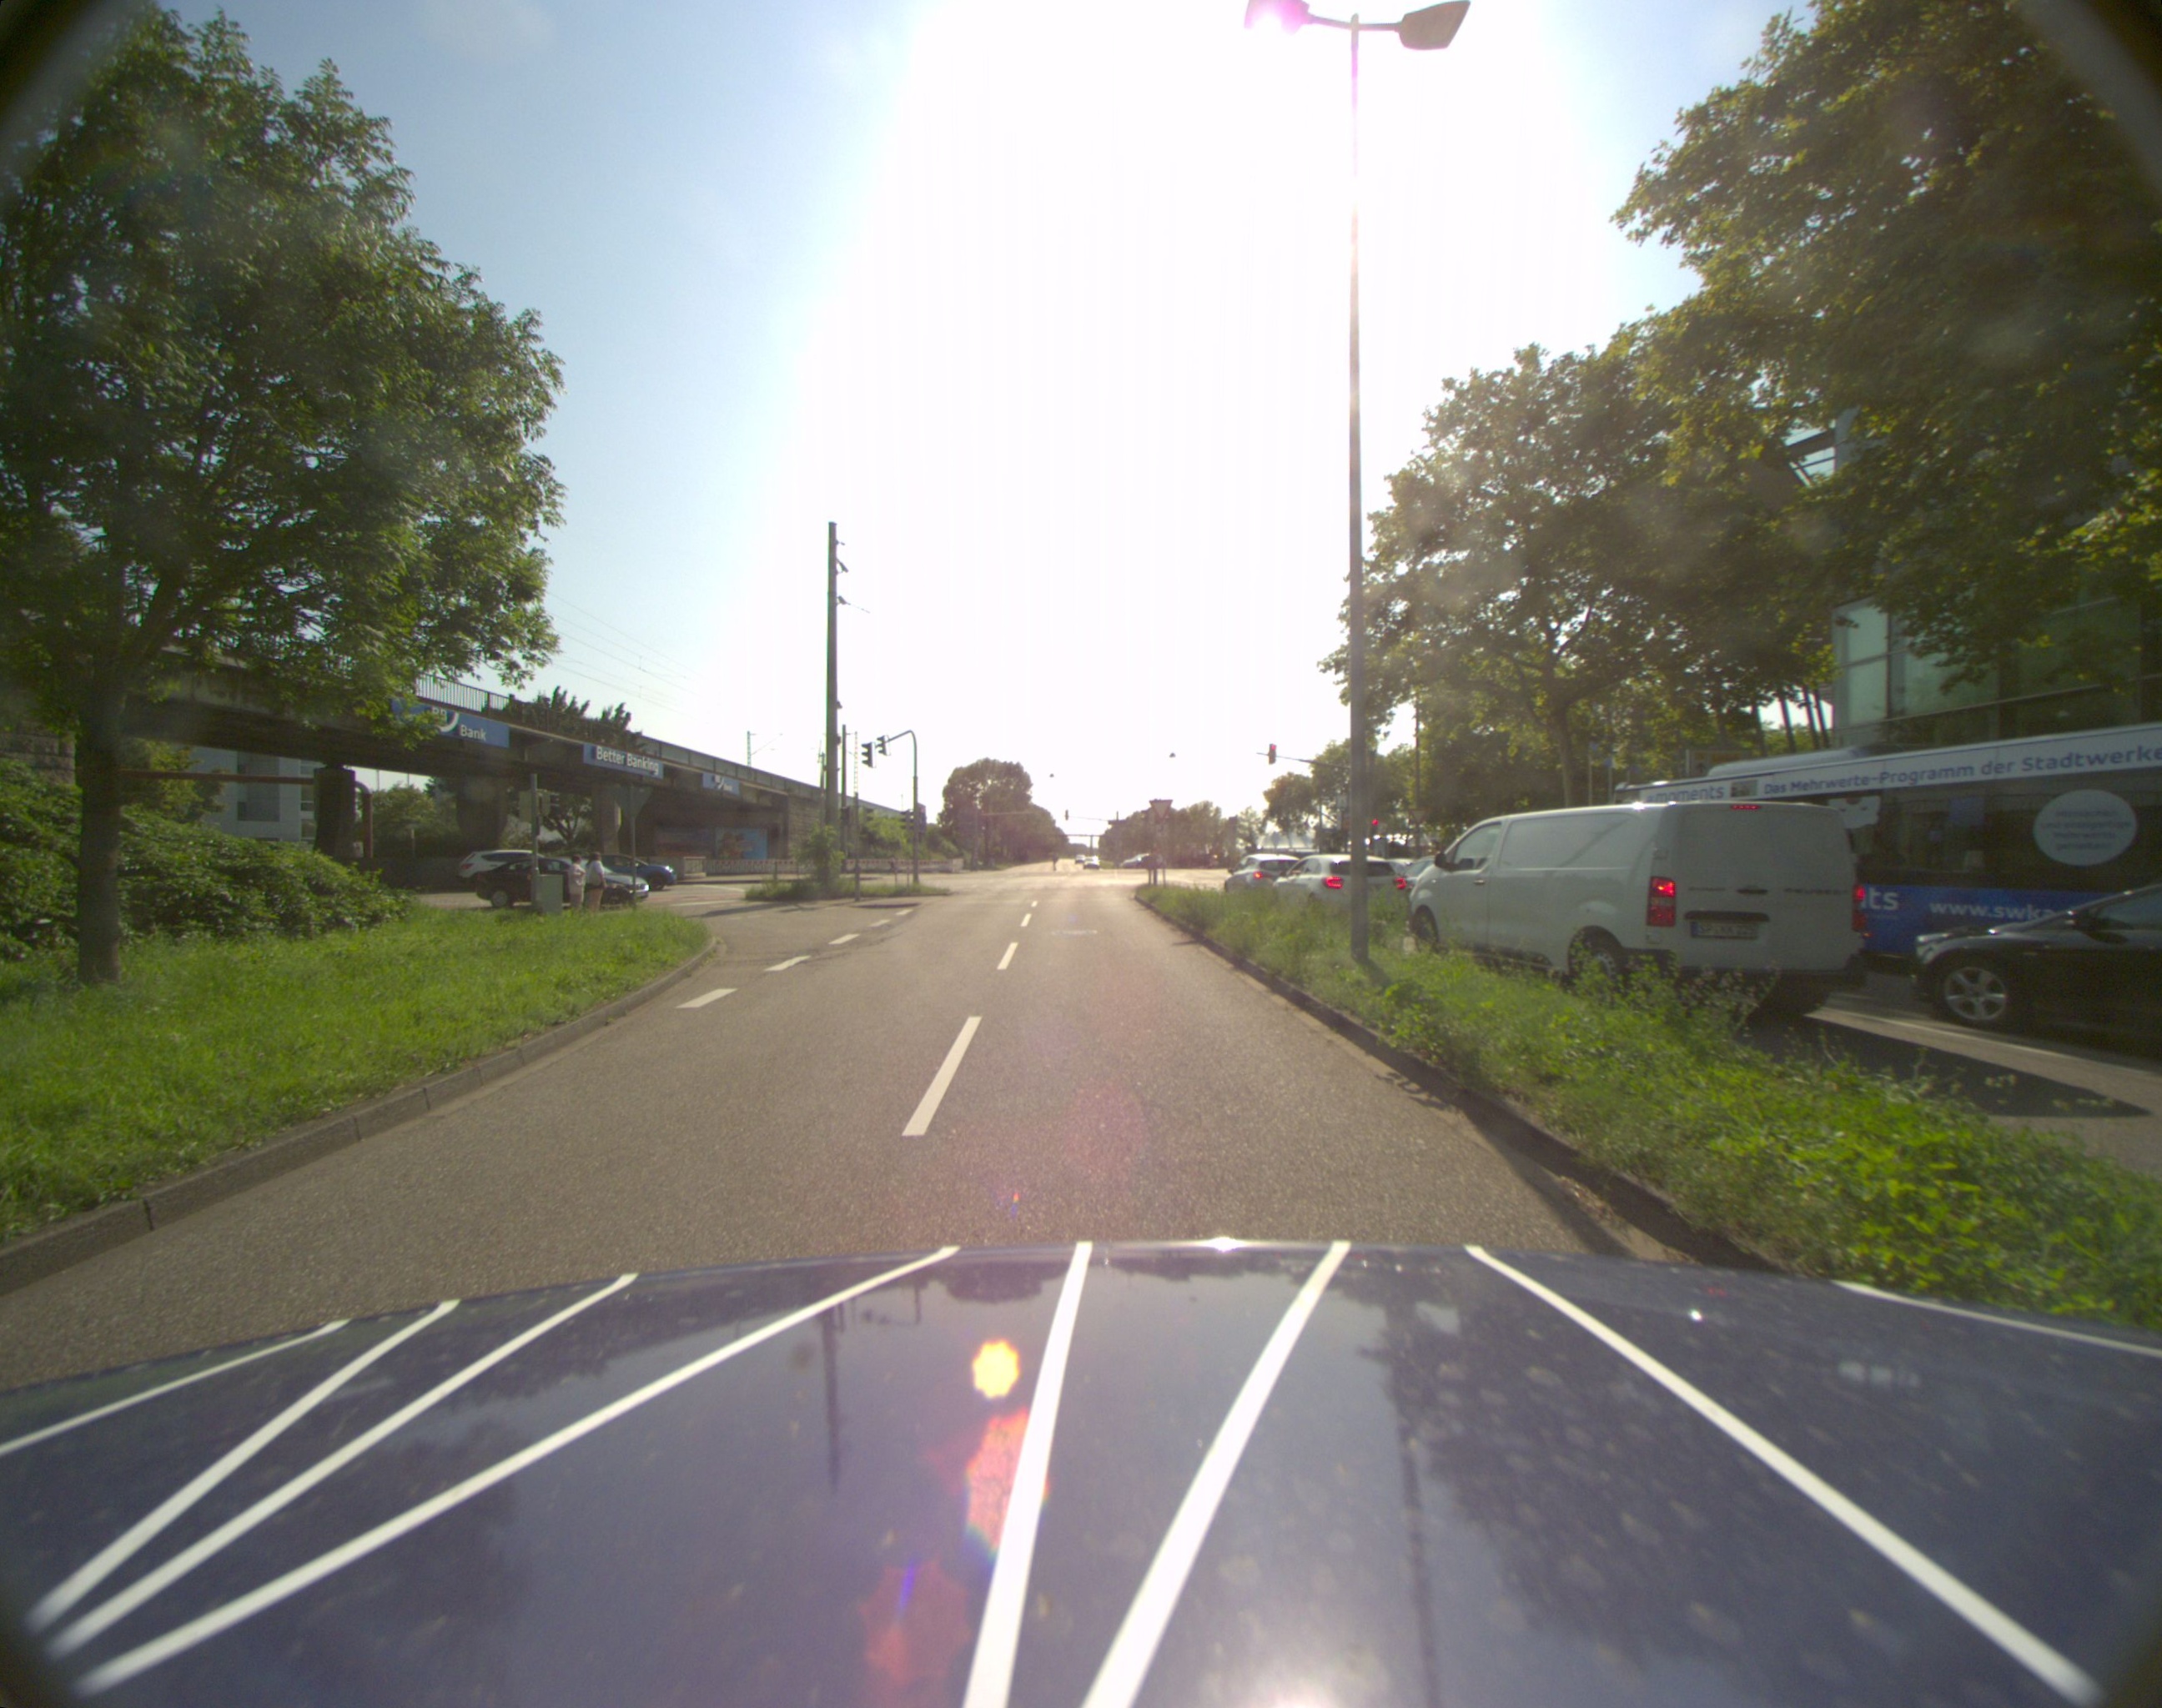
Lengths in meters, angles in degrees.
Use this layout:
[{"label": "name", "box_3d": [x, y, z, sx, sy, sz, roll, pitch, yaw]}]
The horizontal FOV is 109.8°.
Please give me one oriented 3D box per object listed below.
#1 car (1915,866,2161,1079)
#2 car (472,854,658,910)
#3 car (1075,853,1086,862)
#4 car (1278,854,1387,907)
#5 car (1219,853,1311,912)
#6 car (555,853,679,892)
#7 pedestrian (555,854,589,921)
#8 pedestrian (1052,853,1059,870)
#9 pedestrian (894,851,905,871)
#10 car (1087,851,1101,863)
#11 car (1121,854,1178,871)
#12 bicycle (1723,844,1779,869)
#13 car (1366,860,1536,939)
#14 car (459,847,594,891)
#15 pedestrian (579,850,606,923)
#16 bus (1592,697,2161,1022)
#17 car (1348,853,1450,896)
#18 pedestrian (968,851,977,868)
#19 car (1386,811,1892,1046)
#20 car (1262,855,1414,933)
[{"label": "car", "box_3d": [8.330, 0.870, 4.699, 1.651, 1.425, 4.188, 1, 1, -1]}, {"label": "car", "box_3d": [-14.804, 0.758, 21.922, 4.188, 1.524, 1.871, 0, 1, 6]}, {"label": "car", "box_3d": [-0.117, 0.598, 134.884, 1.864, 1.584, 4.000, 0, 0, 1]}, {"label": "car", "box_3d": [7.786, 0.755, 23.982, 1.859, 1.495, 4.263, 1, 0, -3]}, {"label": "car", "box_3d": [5.168, 0.743, 21.806, 1.647, 1.487, 3.999, 0, 1, -1]}, {"label": "car", "box_3d": [-18.102, 0.683, 29.736, 4.008, 1.444, 1.613, 0, 0, -37]}, {"label": "pedestrian", "box_3d": [-12.265, 0.792, 18.312, 0.573, 1.558, 0.535, -2, 2, -42]}, {"label": "pedestrian", "box_3d": [-2.580, 0.745, 76.676, 0.587, 1.715, 0.647, 0, 1, -6]}, {"label": "pedestrian", "box_3d": [-14.564, 0.567, 60.988, 0.636, 1.565, 0.489, -2, 2, -38]}, {"label": "car", "box_3d": [1.552, 0.329, 86.960, 1.545, 1.434, 3.395, 0, 1, 2]}, {"label": "car", "box_3d": [6.320, 0.763, 69.923, 5.441, 1.438, 1.855, -1, 1, -38]}, {"label": "bicycle", "box_3d": [30.129, 0.116, 34.175, 1.862, 1.087, 0.528, 0, 1, 42]}, {"label": "car", "box_3d": [8.081, 0.919, 17.046, 1.711, 1.434, 3.999, 2, 1, -2]}, {"label": "car", "box_3d": [-22.018, 0.539, 30.389, 4.224, 1.608, 2.005, -1, 1, -34]}, {"label": "pedestrian", "box_3d": [-11.514, 0.752, 17.913, 0.493, 1.672, 0.570, -1, 1, -32]}, {"label": "bus", "box_3d": [11.449, 0.020, 8.800, 2.597, 3.062, 12.308, -1, 1, -1]}, {"label": "car", "box_3d": [11.023, 0.659, 26.666, 1.714, 1.345, 4.158, 0, 1, -2]}, {"label": "pedestrian", "box_3d": [-10.106, 0.545, 70.753, 0.649, 1.565, 0.759, 1, 1, -1]}, {"label": "car", "box_3d": [5.451, 0.581, 8.524, 1.916, 1.853, 4.888, 1, 1, -2]}, {"label": "car", "box_3d": [5.245, 0.750, 16.107, 1.714, 1.394, 4.083, 1, 0, -1]}]
